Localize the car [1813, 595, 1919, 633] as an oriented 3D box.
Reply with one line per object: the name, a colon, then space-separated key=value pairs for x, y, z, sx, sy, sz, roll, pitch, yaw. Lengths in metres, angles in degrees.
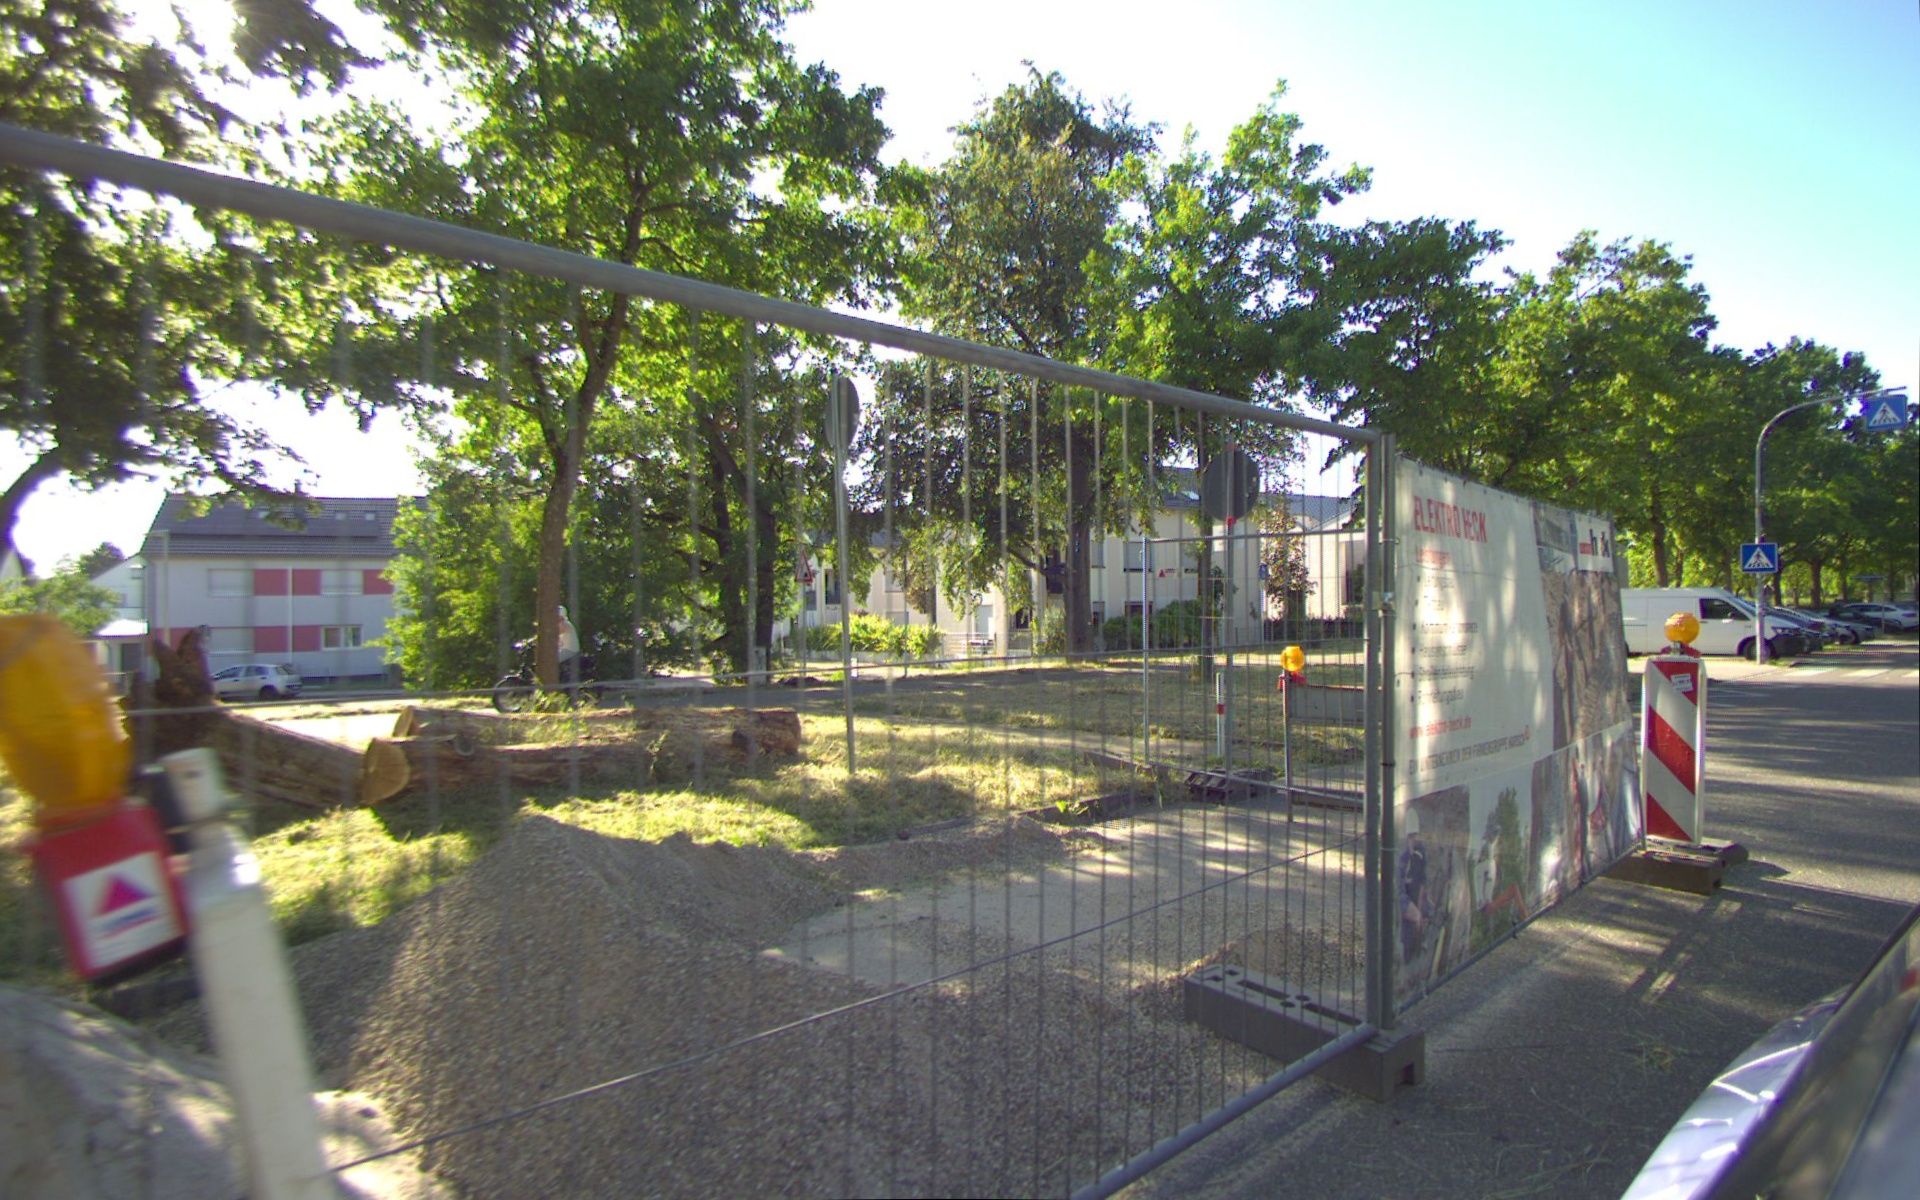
car: x=45.506 y=0.695 z=50.349 sx=1.505 sy=1.765 sz=4.393 roll=0 pitch=-2 yaw=-39

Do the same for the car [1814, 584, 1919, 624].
car: x=50.287 y=0.257 z=55.986 sx=1.505 sy=2.014 sz=4.393 roll=0 pitch=-2 yaw=-39

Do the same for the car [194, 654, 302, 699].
car: x=-27.894 y=2.966 z=39.729 sx=3.117 sy=1.572 sz=1.532 roll=-1 pitch=-2 yaw=-14

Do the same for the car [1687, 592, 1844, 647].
car: x=28.491 y=0.715 z=35.900 sx=1.682 sy=1.817 sz=4.017 roll=0 pitch=-2 yaw=-39

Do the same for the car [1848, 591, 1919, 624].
car: x=53.767 y=0.430 z=57.726 sx=1.505 sy=1.765 sz=4.393 roll=0 pitch=-2 yaw=-39

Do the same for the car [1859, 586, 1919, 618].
car: x=55.646 y=0.086 z=59.115 sx=1.505 sy=1.765 sz=4.393 roll=0 pitch=-2 yaw=-39

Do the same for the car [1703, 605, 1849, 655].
car: x=27.073 y=1.008 z=33.678 sx=1.422 sy=1.562 sz=3.514 roll=0 pitch=-2 yaw=-39

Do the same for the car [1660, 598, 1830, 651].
car: x=25.120 y=0.811 z=32.493 sx=1.726 sy=1.583 sz=3.994 roll=0 pitch=-2 yaw=-39

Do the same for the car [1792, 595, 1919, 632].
car: x=43.035 y=0.664 z=48.659 sx=1.505 sy=1.663 sz=4.393 roll=0 pitch=-2 yaw=-39

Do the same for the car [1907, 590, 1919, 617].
car: x=70.596 y=0.184 z=72.304 sx=1.830 sy=1.873 sz=3.993 roll=0 pitch=-2 yaw=-40

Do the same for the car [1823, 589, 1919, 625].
car: x=48.447 y=0.387 z=53.226 sx=1.505 sy=1.765 sz=4.393 roll=0 pitch=-2 yaw=-39

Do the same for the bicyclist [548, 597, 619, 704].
bicyclist: x=-6.191 y=0.812 z=16.636 sx=0.834 sy=1.687 sz=0.725 roll=-1 pitch=-3 yaw=-42

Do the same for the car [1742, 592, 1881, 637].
car: x=34.177 y=0.605 z=40.721 sx=1.505 sy=1.681 sz=4.017 roll=0 pitch=-2 yaw=-39

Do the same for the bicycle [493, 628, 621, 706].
bicycle: x=-6.516 y=1.056 z=16.403 sx=1.799 sy=1.165 sz=0.676 roll=0 pitch=-2 yaw=-42

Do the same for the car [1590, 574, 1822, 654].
car: x=21.217 y=0.407 z=28.974 sx=1.858 sy=2.108 sz=5.040 roll=0 pitch=-1 yaw=-41

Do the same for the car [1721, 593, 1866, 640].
car: x=31.903 y=0.661 z=38.839 sx=1.505 sy=1.701 sz=4.017 roll=0 pitch=-2 yaw=-39
